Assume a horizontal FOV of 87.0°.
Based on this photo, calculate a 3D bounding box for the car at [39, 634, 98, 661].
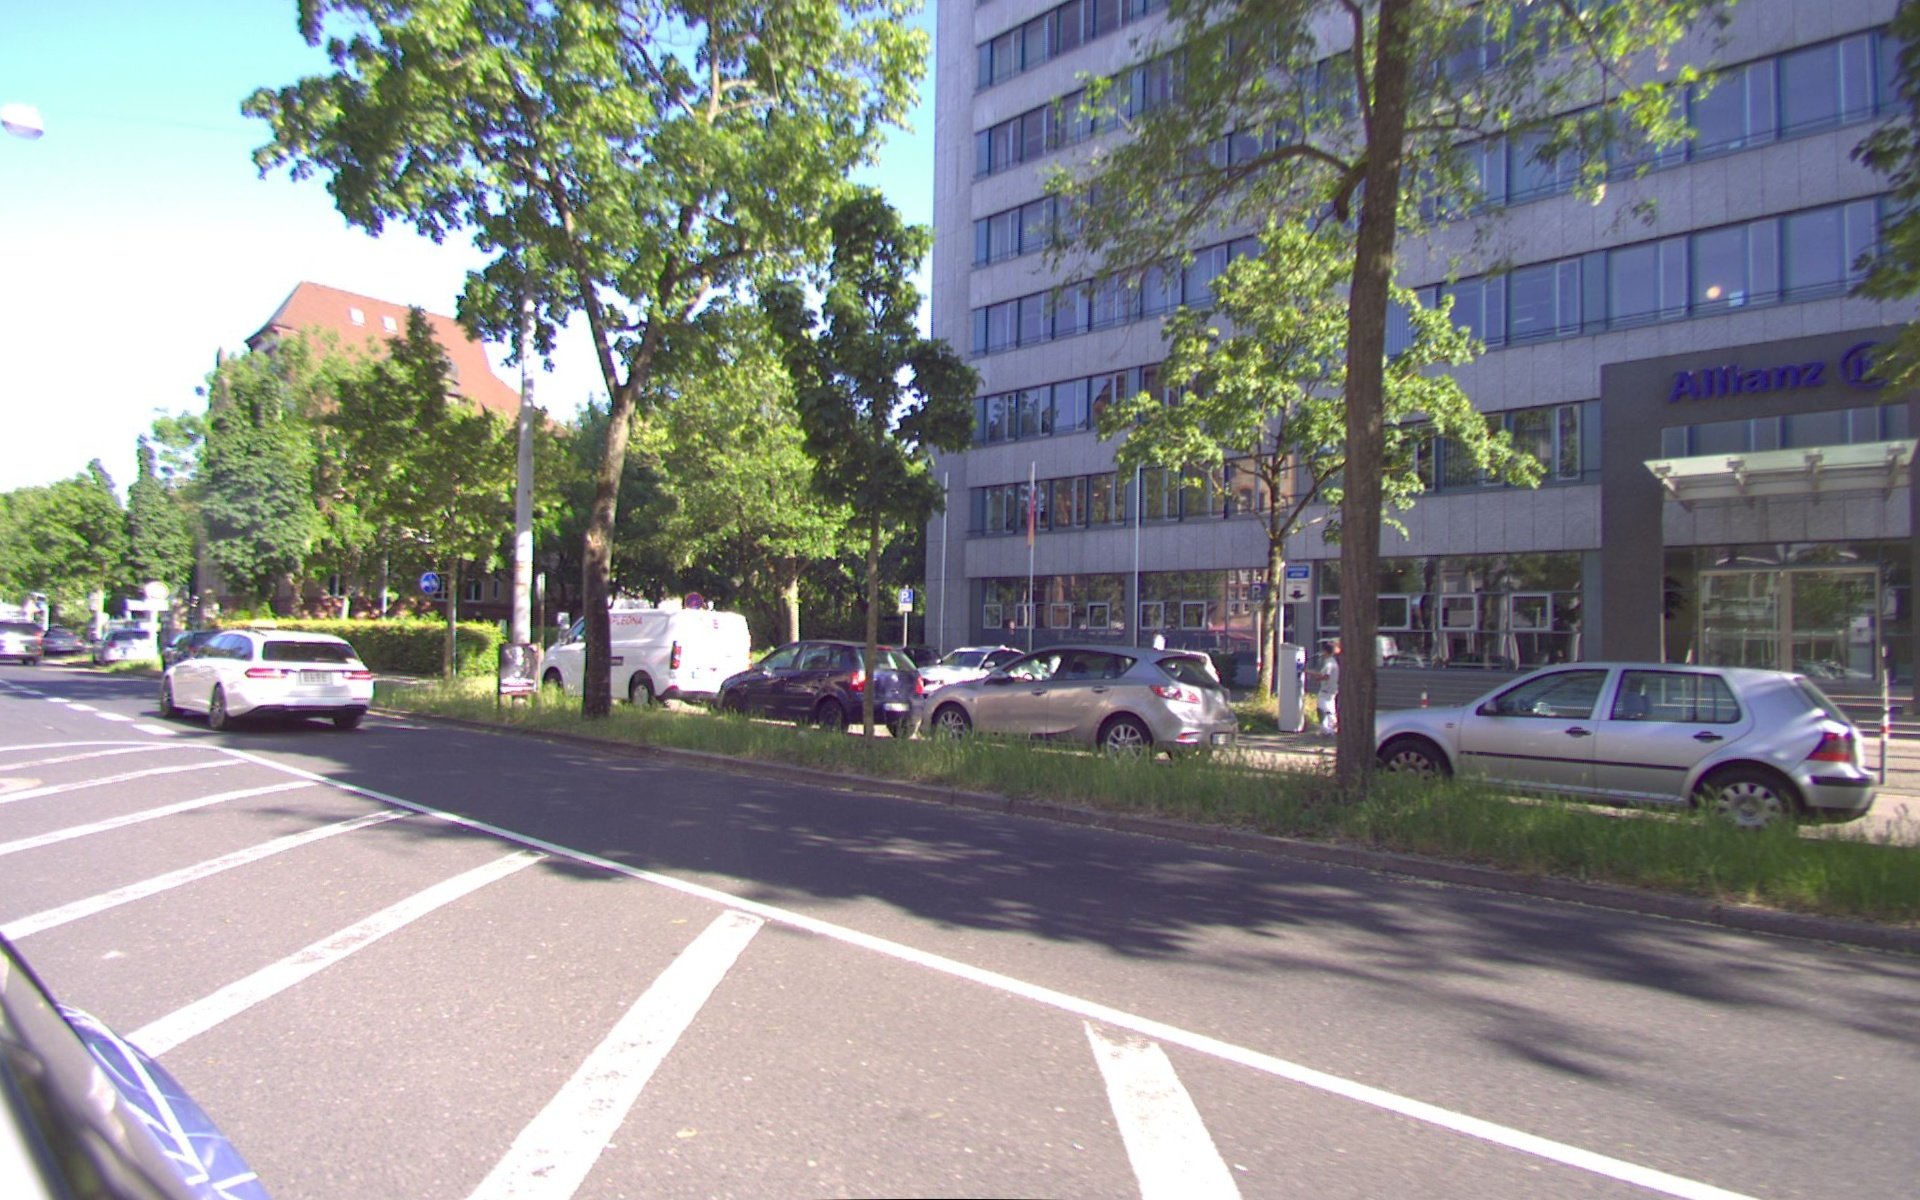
[{"bbox_3d":[-43.724,2.313,49.590,4.013,1.265,1.661,-1,-2,41],"label":"car"}]

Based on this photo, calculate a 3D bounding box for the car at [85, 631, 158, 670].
[{"bbox_3d":[-32.546,1.916,39.243,4.191,1.394,1.669,-2,-1,43],"label":"car"}]

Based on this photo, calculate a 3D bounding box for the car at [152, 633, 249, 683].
[{"bbox_3d":[-23.997,1.789,31.939,4.071,1.470,1.693,-2,-2,42],"label":"car"}]

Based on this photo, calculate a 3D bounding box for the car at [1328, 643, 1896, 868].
[{"bbox_3d":[5.726,1.191,9.238,4.062,1.534,1.836,-2,-2,42],"label":"car"}]

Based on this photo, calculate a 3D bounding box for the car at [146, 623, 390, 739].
[{"bbox_3d":[-10.974,1.201,15.921,4.710,1.580,1.837,-1,-5,39],"label":"car"}]

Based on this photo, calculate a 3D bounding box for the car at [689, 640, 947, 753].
[{"bbox_3d":[-2.370,1.422,16.202,4.318,1.534,1.762,-2,-2,43],"label":"car"}]

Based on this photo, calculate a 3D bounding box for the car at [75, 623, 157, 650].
[{"bbox_3d":[-57.974,2.505,69.606,1.976,1.683,4.135,-2,-1,7],"label":"car"}]

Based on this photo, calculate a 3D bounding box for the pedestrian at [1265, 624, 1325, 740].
[{"bbox_3d":[6.326,1.514,19.115,0.779,2.109,0.775,1,-1,-38],"label":"pedestrian"}]

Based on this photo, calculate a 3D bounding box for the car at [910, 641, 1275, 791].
[{"bbox_3d":[1.551,1.315,12.848,4.315,1.534,1.837,-1,-2,40],"label":"car"}]

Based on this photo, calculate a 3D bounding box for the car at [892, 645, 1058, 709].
[{"bbox_3d":[0.484,1.914,26.253,1.935,1.453,4.567,-1,-2,39],"label":"car"}]

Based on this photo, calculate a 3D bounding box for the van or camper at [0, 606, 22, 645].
[{"bbox_3d":[-69.865,1.875,73.236,6.084,2.760,2.193,-2,-3,41],"label":"van or camper"}]

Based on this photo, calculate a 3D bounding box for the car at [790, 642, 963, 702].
[{"bbox_3d":[-2.236,1.939,28.214,2.010,1.524,4.616,-2,-3,45],"label":"car"}]

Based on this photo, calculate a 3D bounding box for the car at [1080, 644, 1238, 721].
[{"bbox_3d":[4.633,1.802,23.155,1.859,1.534,4.263,-1,-2,38],"label":"car"}]

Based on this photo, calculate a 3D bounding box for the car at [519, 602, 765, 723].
[{"bbox_3d":[-6.358,1.201,19.914,5.189,2.092,1.962,-1,-5,38],"label":"car"}]

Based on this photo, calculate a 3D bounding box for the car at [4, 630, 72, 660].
[{"bbox_3d":[-50.123,2.400,54.995,4.696,1.505,1.839,-1,0,36],"label":"car"}]

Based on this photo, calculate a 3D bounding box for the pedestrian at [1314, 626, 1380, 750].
[{"bbox_3d":[6.805,1.519,17.826,0.760,2.109,0.794,0,-1,-17],"label":"pedestrian"}]

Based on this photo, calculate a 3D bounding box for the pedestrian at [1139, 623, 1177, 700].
[{"bbox_3d":[5.570,1.709,28.445,0.792,2.109,0.763,-1,-1,42],"label":"pedestrian"}]

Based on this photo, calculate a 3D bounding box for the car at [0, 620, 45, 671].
[{"bbox_3d":[-37.030,1.738,39.025,4.606,1.839,1.837,-1,-5,40],"label":"car"}]
